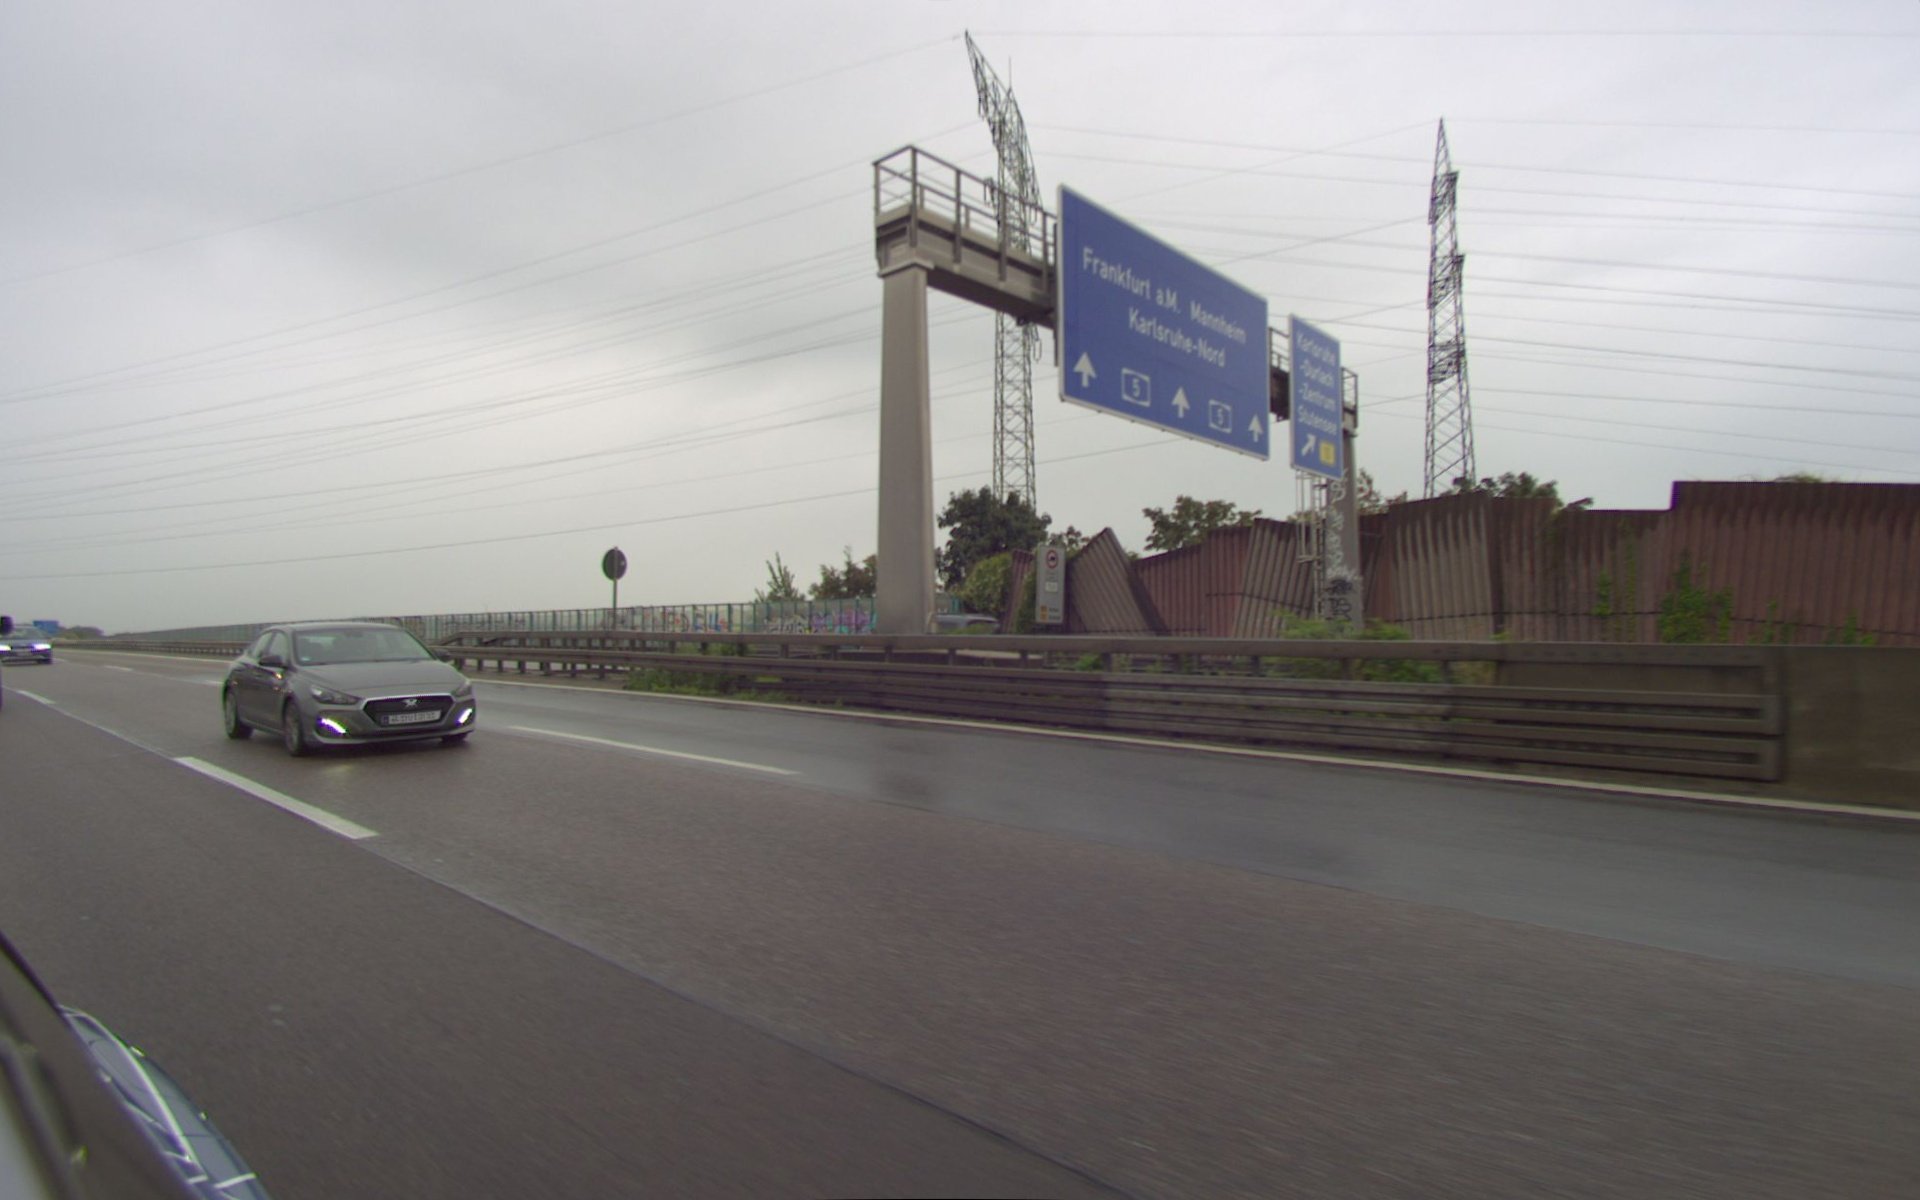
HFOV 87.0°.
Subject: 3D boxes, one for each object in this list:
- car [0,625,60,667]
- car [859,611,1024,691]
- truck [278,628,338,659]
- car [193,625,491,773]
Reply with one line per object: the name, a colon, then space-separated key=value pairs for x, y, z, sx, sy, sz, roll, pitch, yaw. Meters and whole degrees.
car: x=-39.302 y=1.890 z=42.427 sx=5.155 sy=1.606 sz=1.819 roll=-1 pitch=-1 yaw=42
car: x=-0.556 y=1.300 z=27.018 sx=4.170 sy=1.946 sz=1.972 roll=-1 pitch=0 yaw=42
truck: x=-42.359 y=2.808 z=65.710 sx=5.248 sy=1.945 sz=1.972 roll=-2 pitch=-2 yaw=42
car: x=-7.601 y=1.026 z=12.221 sx=4.826 sy=1.413 sz=1.707 roll=-1 pitch=-1 yaw=41
